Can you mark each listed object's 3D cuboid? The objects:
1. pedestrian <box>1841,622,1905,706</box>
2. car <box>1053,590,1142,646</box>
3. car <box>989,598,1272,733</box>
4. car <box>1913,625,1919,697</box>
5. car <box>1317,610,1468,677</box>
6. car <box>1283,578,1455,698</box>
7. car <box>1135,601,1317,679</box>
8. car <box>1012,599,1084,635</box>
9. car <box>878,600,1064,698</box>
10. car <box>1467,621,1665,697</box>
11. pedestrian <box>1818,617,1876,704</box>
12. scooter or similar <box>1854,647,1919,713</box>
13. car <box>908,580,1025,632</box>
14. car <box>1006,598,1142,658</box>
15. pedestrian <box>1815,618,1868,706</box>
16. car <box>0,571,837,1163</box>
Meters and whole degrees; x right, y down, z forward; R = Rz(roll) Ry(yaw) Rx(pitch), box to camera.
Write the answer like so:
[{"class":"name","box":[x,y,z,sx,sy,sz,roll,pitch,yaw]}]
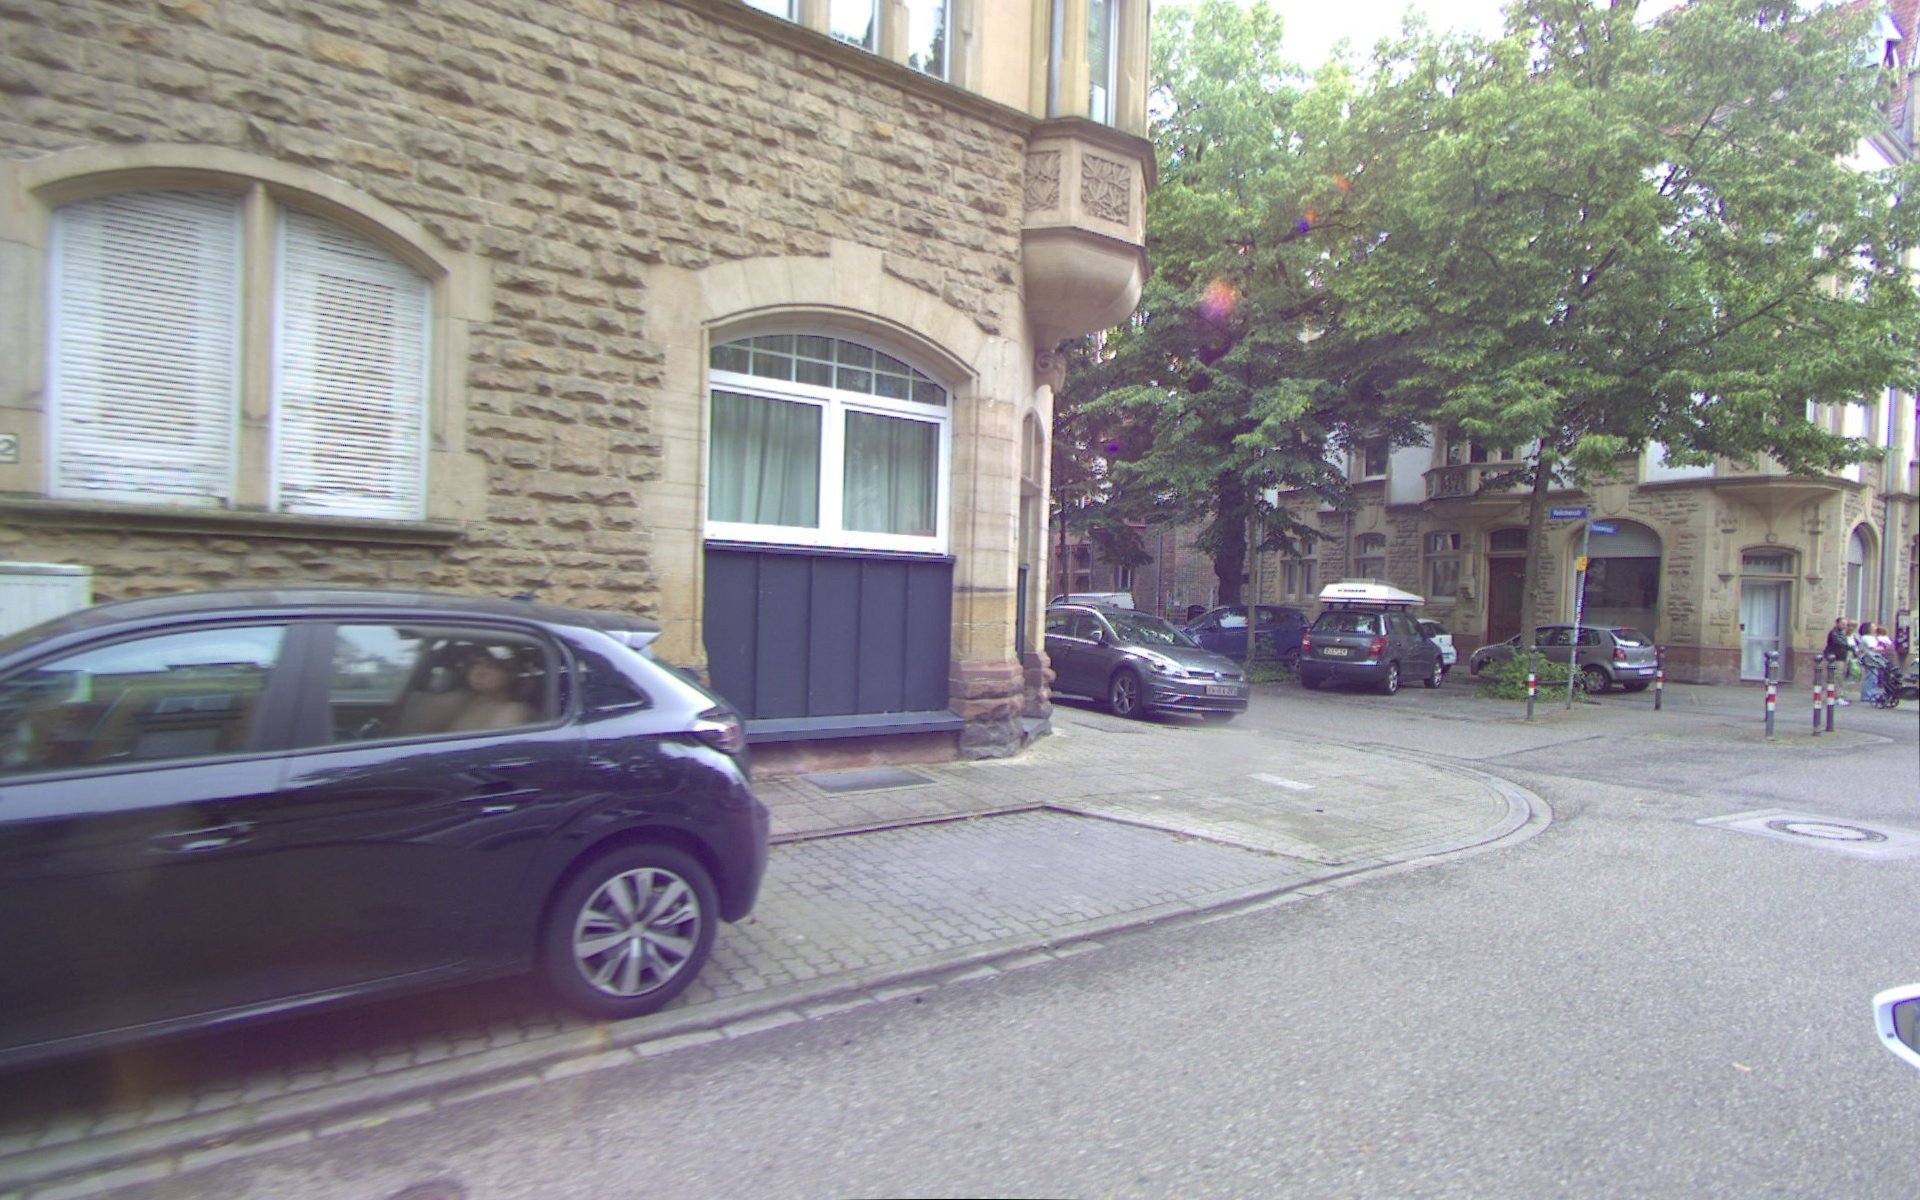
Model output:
[{"class":"pedestrian","box":[18.358,1.272,20.206,0.656,1.615,0.632,2,1,6]},{"class":"car","box":[5.469,0.677,40.372,1.886,2.035,3.510,0,2,-25]},{"class":"car","box":[2.210,0.823,14.237,1.642,1.485,4.254,6,-1,-27]},{"class":"car","box":[22.278,1.411,21.609,3.959,1.514,1.699,3,1,-34]},{"class":"car","box":[11.606,1.138,27.149,1.628,1.479,3.479,3,1,-25]},{"class":"car","box":[7.767,0.662,18.884,1.806,1.994,3.942,2,0,41]},{"class":"car","box":[5.798,0.859,22.174,3.541,1.536,1.654,2,0,1]},{"class":"car","box":[3.793,0.722,43.648,1.697,1.417,3.299,2,0,-24]},{"class":"car","box":[0.075,0.865,19.150,1.642,1.485,4.254,6,-1,-27]},{"class":"car","box":[13.620,1.255,22.771,1.627,1.480,3.557,-1,0,-25]},{"class":"pedestrian","box":[17.666,1.199,20.008,0.595,1.665,0.615,1,1,-23]},{"class":"scooter or similar","box":[17.879,1.515,18.826,0.666,1.119,1.465,2,2,-23]},{"class":"car","box":[0.253,0.215,33.978,3.683,1.537,1.759,3,-1,9]},{"class":"car","box":[3.259,0.776,28.416,3.585,1.500,1.780,2,-1,14]},{"class":"pedestrian","box":[17.221,1.198,19.635,0.521,1.665,0.526,2,2,-23]},{"class":"car","box":[-2.549,0.673,3.473,3.841,1.453,1.716,1,2,-34]}]
